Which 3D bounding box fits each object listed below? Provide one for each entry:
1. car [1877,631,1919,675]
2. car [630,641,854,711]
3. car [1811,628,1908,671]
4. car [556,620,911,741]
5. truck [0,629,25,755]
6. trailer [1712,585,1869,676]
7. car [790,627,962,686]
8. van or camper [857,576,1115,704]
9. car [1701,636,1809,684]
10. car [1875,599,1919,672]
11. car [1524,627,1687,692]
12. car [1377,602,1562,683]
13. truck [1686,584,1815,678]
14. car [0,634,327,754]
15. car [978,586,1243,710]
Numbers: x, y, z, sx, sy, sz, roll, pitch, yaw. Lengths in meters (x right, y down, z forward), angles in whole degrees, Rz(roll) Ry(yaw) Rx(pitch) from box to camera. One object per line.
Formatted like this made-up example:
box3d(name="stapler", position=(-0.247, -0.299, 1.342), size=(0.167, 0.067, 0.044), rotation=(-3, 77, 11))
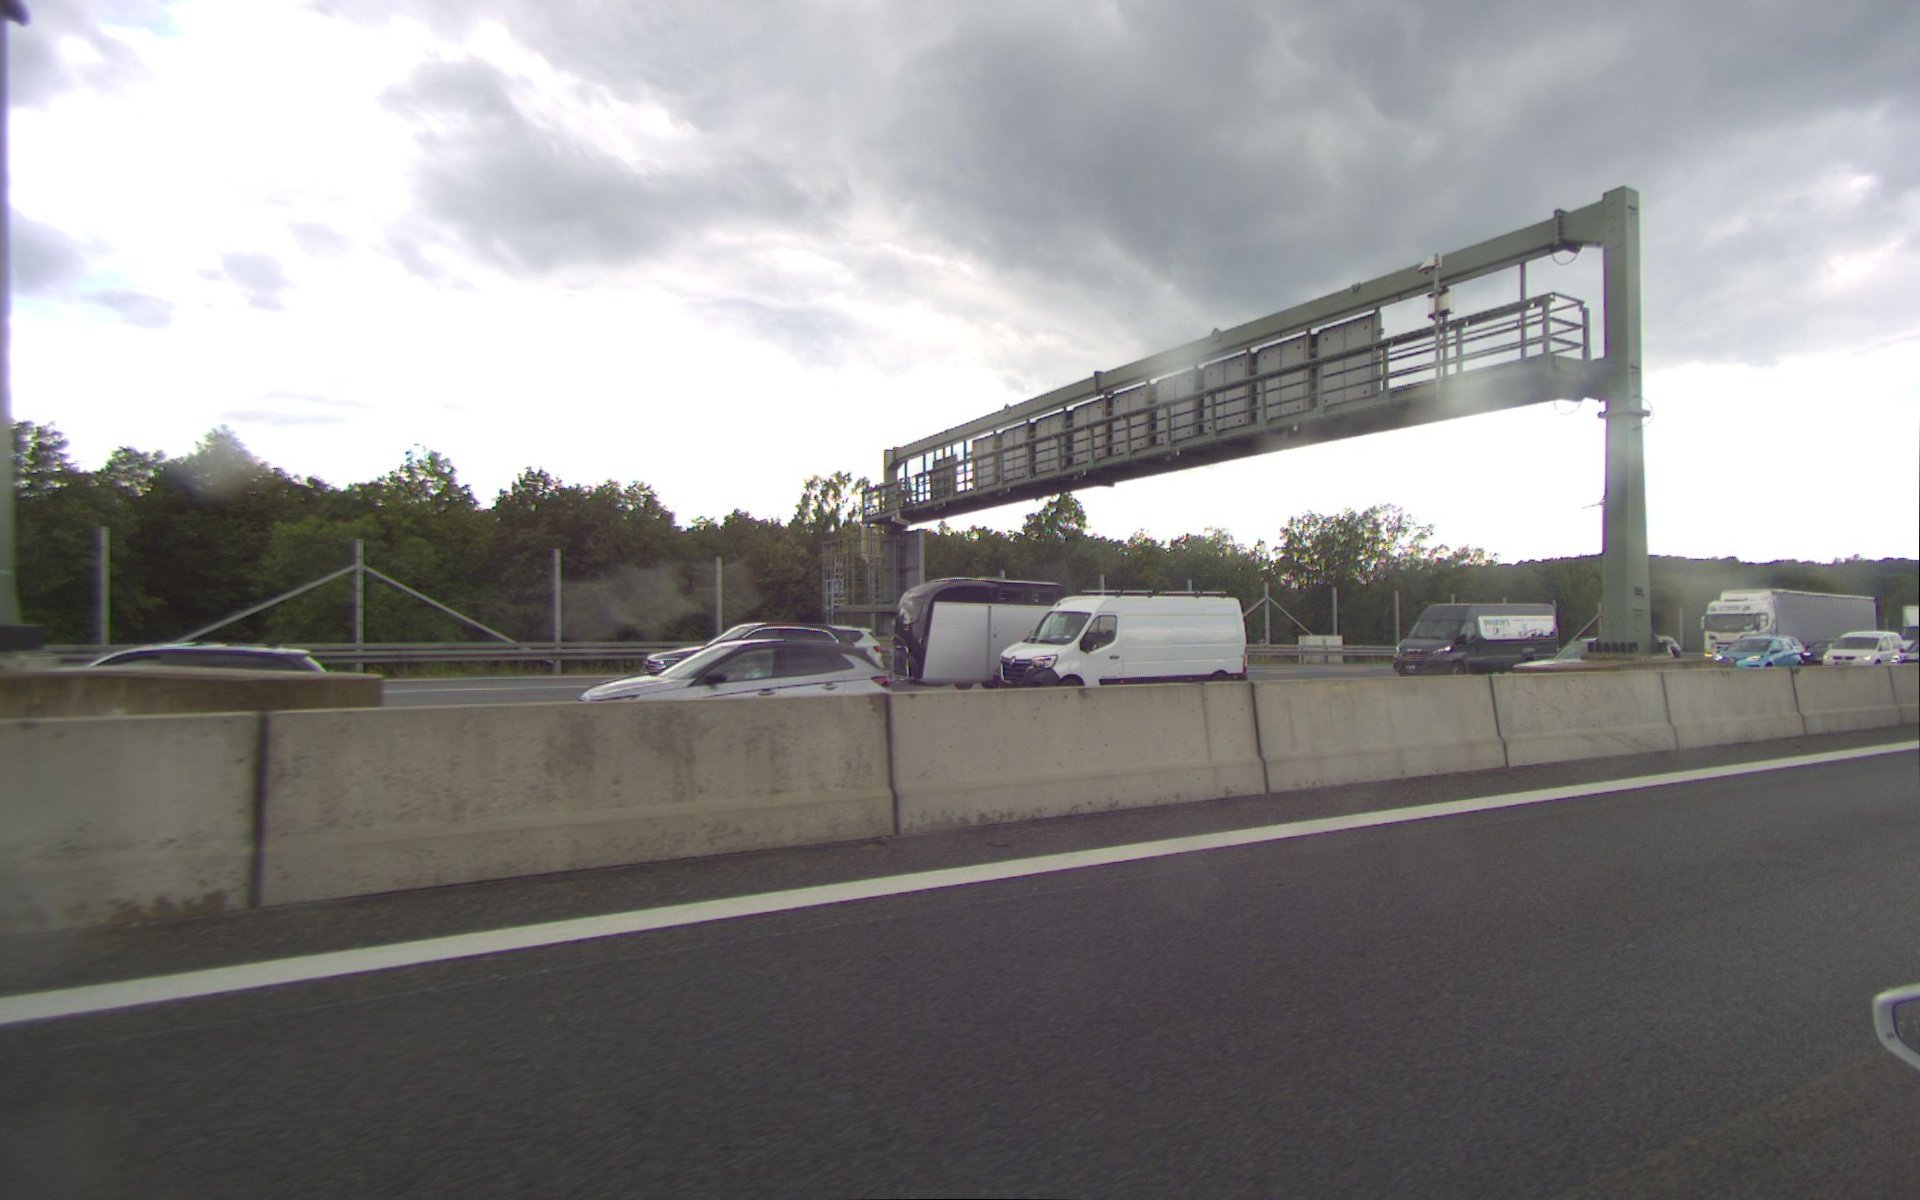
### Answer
box3d(name="car", position=(35.430, 1.911, 36.642), size=(4.342, 1.518, 1.750), rotation=(1, 0, -30))
box3d(name="car", position=(-4.644, 1.576, 21.650), size=(4.454, 1.278, 1.694), rotation=(0, -1, -33))
box3d(name="car", position=(38.246, 2.080, 42.681), size=(4.739, 1.689, 1.704), rotation=(1, 0, -30))
box3d(name="car", position=(-3.009, 0.984, 13.739), size=(4.456, 1.410, 1.694), rotation=(0, -1, -33))
box3d(name="truck", position=(-15.414, 1.297, 13.397), size=(3.955, 1.770, 1.983), rotation=(1, -1, -32))
box3d(name="trailer", position=(49.143, 1.743, 59.235), size=(13.145, 4.921, 3.130), rotation=(1, 0, -32))
box3d(name="car", position=(-2.257, 1.491, 27.543), size=(4.454, 1.468, 1.694), rotation=(0, -1, -33))
box3d(name="van or camper", position=(0.734, 0.937, 25.286), size=(6.145, 2.885, 2.569), rotation=(0, -1, -33))
box3d(name="car", position=(30.061, 2.217, 37.959), size=(4.230, 1.643, 1.793), rotation=(1, 0, -30))
box3d(name="car", position=(46.923, 1.673, 48.118), size=(7.537, 3.344, 2.486), rotation=(1, 0, -30))
box3d(name="car", position=(16.294, 1.434, 25.298), size=(4.343, 1.457, 1.749), rotation=(1, 0, -31))
box3d(name="car", position=(17.751, 1.439, 34.828), size=(7.274, 2.580, 2.260), rotation=(1, -1, -31))
box3d(name="truck", position=(44.204, 1.682, 56.076), size=(7.937, 4.921, 3.130), rotation=(1, 0, -32))
box3d(name="car", position=(-11.357, 1.174, 13.200), size=(5.070, 1.375, 1.790), rotation=(0, -1, -31))
box3d(name="car", position=(3.502, 1.009, 22.841), size=(5.996, 2.521, 2.192), rotation=(0, -1, -31))
